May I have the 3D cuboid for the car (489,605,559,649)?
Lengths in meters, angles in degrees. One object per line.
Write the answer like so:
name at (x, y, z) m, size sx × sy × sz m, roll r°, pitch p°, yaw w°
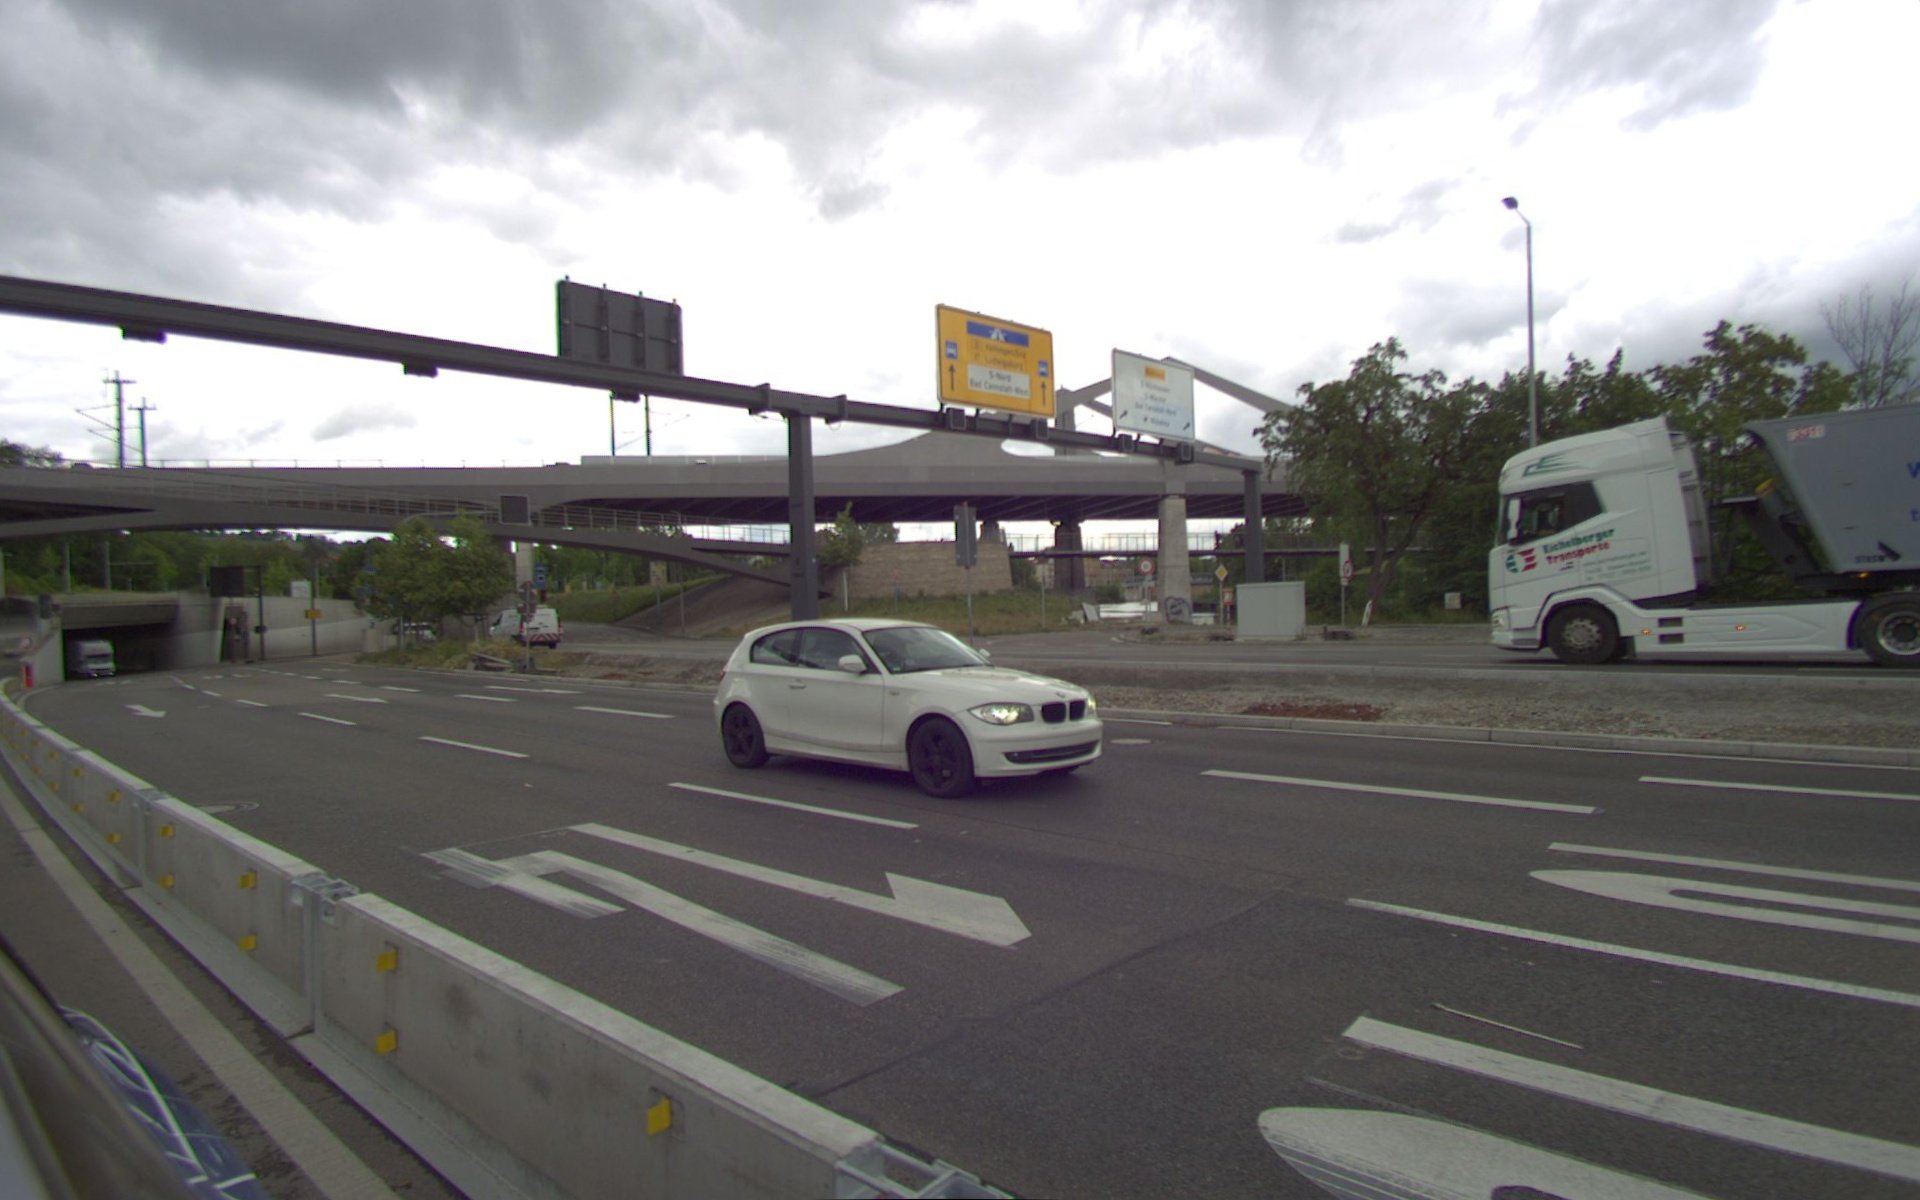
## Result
car at (-19.913, 1.242, 46.138) m, size 1.803 × 1.821 × 3.806 m, roll -1°, pitch -2°, yaw -41°

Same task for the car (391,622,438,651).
car at (-34.119, 2.276, 63.221) m, size 1.777 × 1.674 × 4.295 m, roll -2°, pitch -1°, yaw -39°

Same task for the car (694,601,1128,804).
car at (-0.605, 0.787, 9.274) m, size 3.981 × 1.444 × 1.621 m, roll -2°, pitch 0°, yaw 42°

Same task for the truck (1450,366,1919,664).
truck at (14.876, -1.238, 14.274) m, size 13.990 × 4.092 × 2.867 m, roll -3°, pitch -1°, yaw 44°

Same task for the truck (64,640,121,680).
truck at (-75.634, 5.179, 88.162) m, size 8.119 × 3.150 × 2.712 m, roll -2°, pitch 1°, yaw 43°
